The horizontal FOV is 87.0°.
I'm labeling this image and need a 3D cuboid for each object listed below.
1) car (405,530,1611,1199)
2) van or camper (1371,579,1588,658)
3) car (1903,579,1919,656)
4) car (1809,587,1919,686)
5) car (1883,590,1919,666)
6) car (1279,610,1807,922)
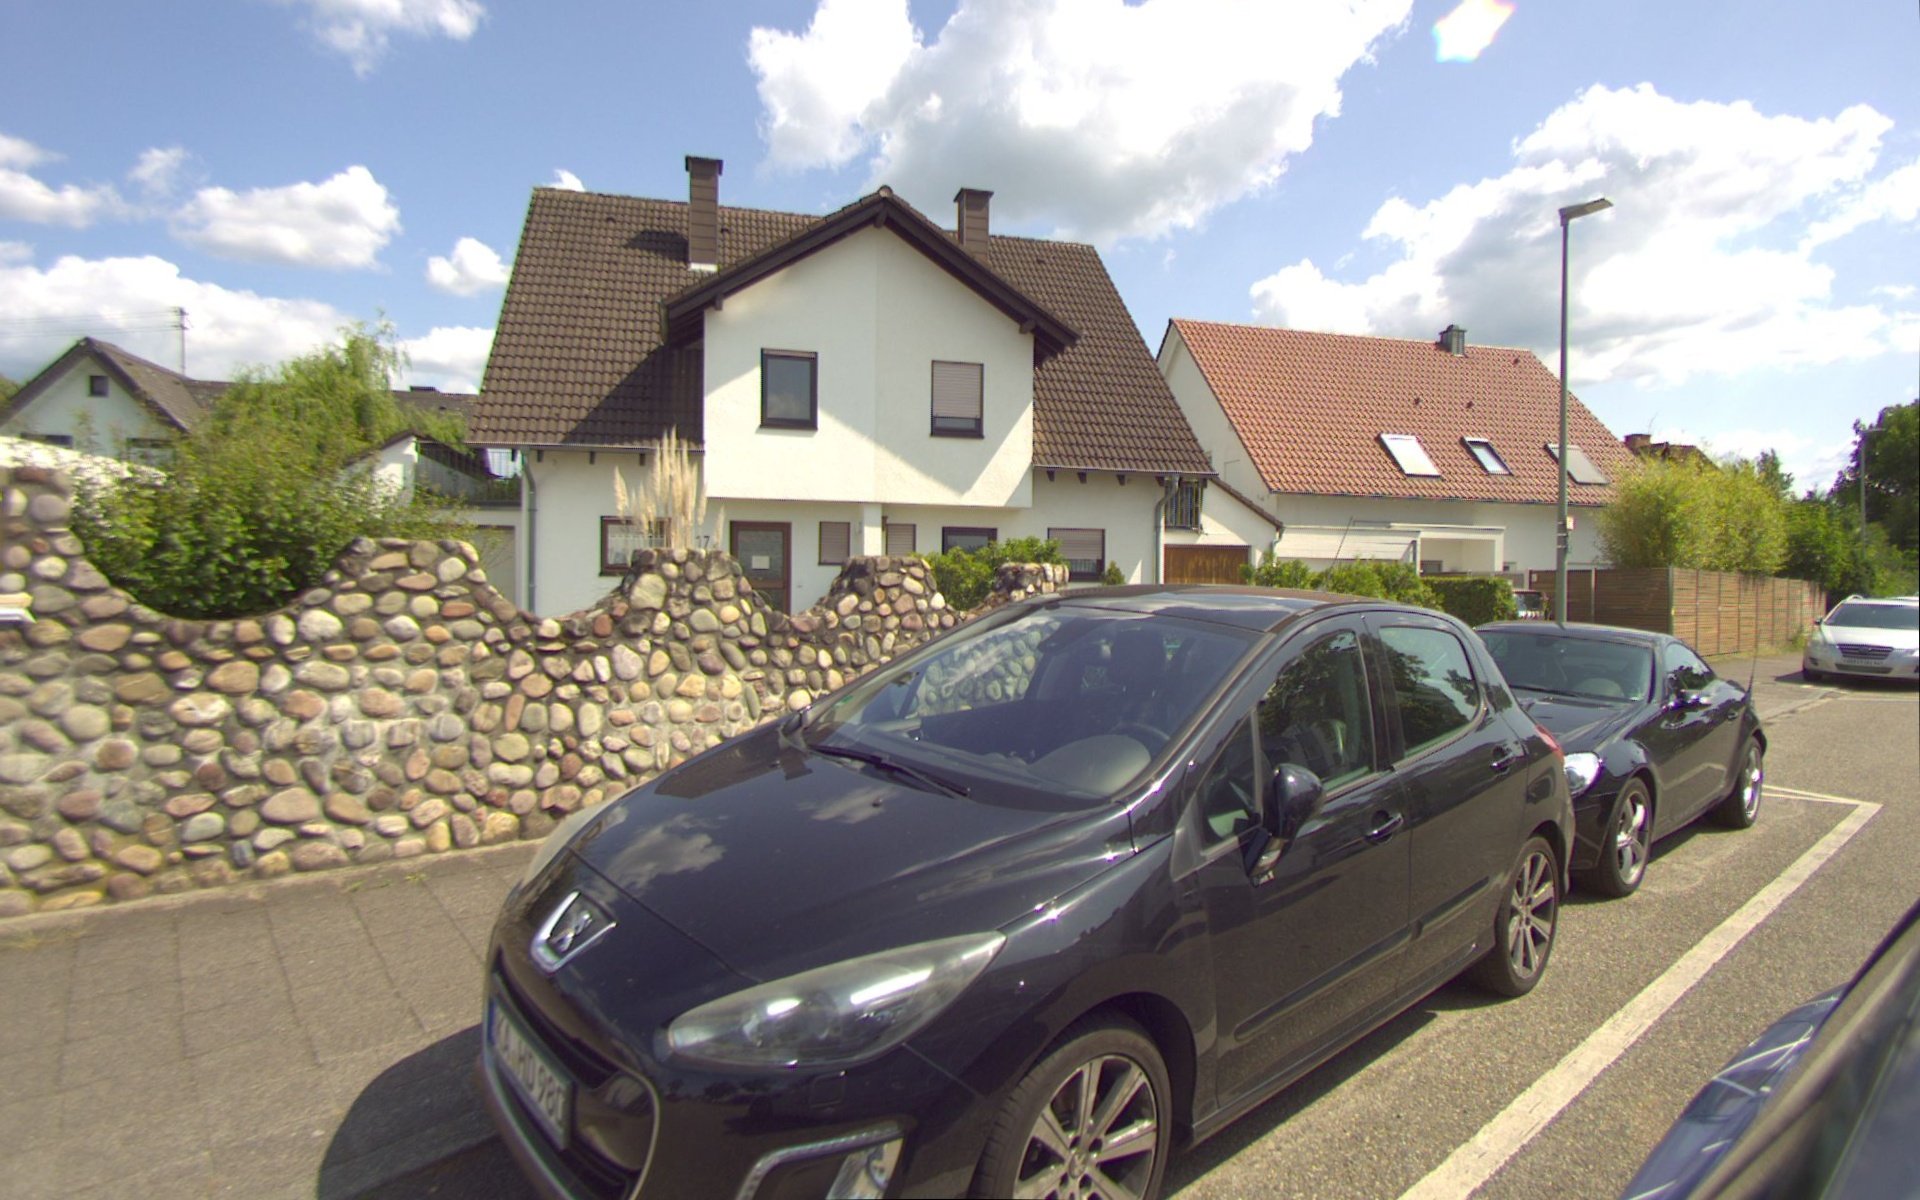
[{"bbox_3d":[0.582,0.652,3.446,4.051,1.570,1.746,0,2,-42],"label":"car"},{"bbox_3d":[11.240,0.339,22.233,1.958,1.549,4.009,1,1,-18],"label":"van or camper"},{"bbox_3d":[24.814,0.432,24.942,4.628,1.796,1.894,0,1,-42],"label":"car"},{"bbox_3d":[16.549,0.576,17.897,4.217,1.572,1.748,0,0,-41],"label":"car"},{"bbox_3d":[20.602,0.565,21.292,3.609,1.524,1.444,0,-1,-43],"label":"car"},{"bbox_3d":[3.881,0.765,6.469,3.893,1.334,1.713,0,1,-40],"label":"car"}]
